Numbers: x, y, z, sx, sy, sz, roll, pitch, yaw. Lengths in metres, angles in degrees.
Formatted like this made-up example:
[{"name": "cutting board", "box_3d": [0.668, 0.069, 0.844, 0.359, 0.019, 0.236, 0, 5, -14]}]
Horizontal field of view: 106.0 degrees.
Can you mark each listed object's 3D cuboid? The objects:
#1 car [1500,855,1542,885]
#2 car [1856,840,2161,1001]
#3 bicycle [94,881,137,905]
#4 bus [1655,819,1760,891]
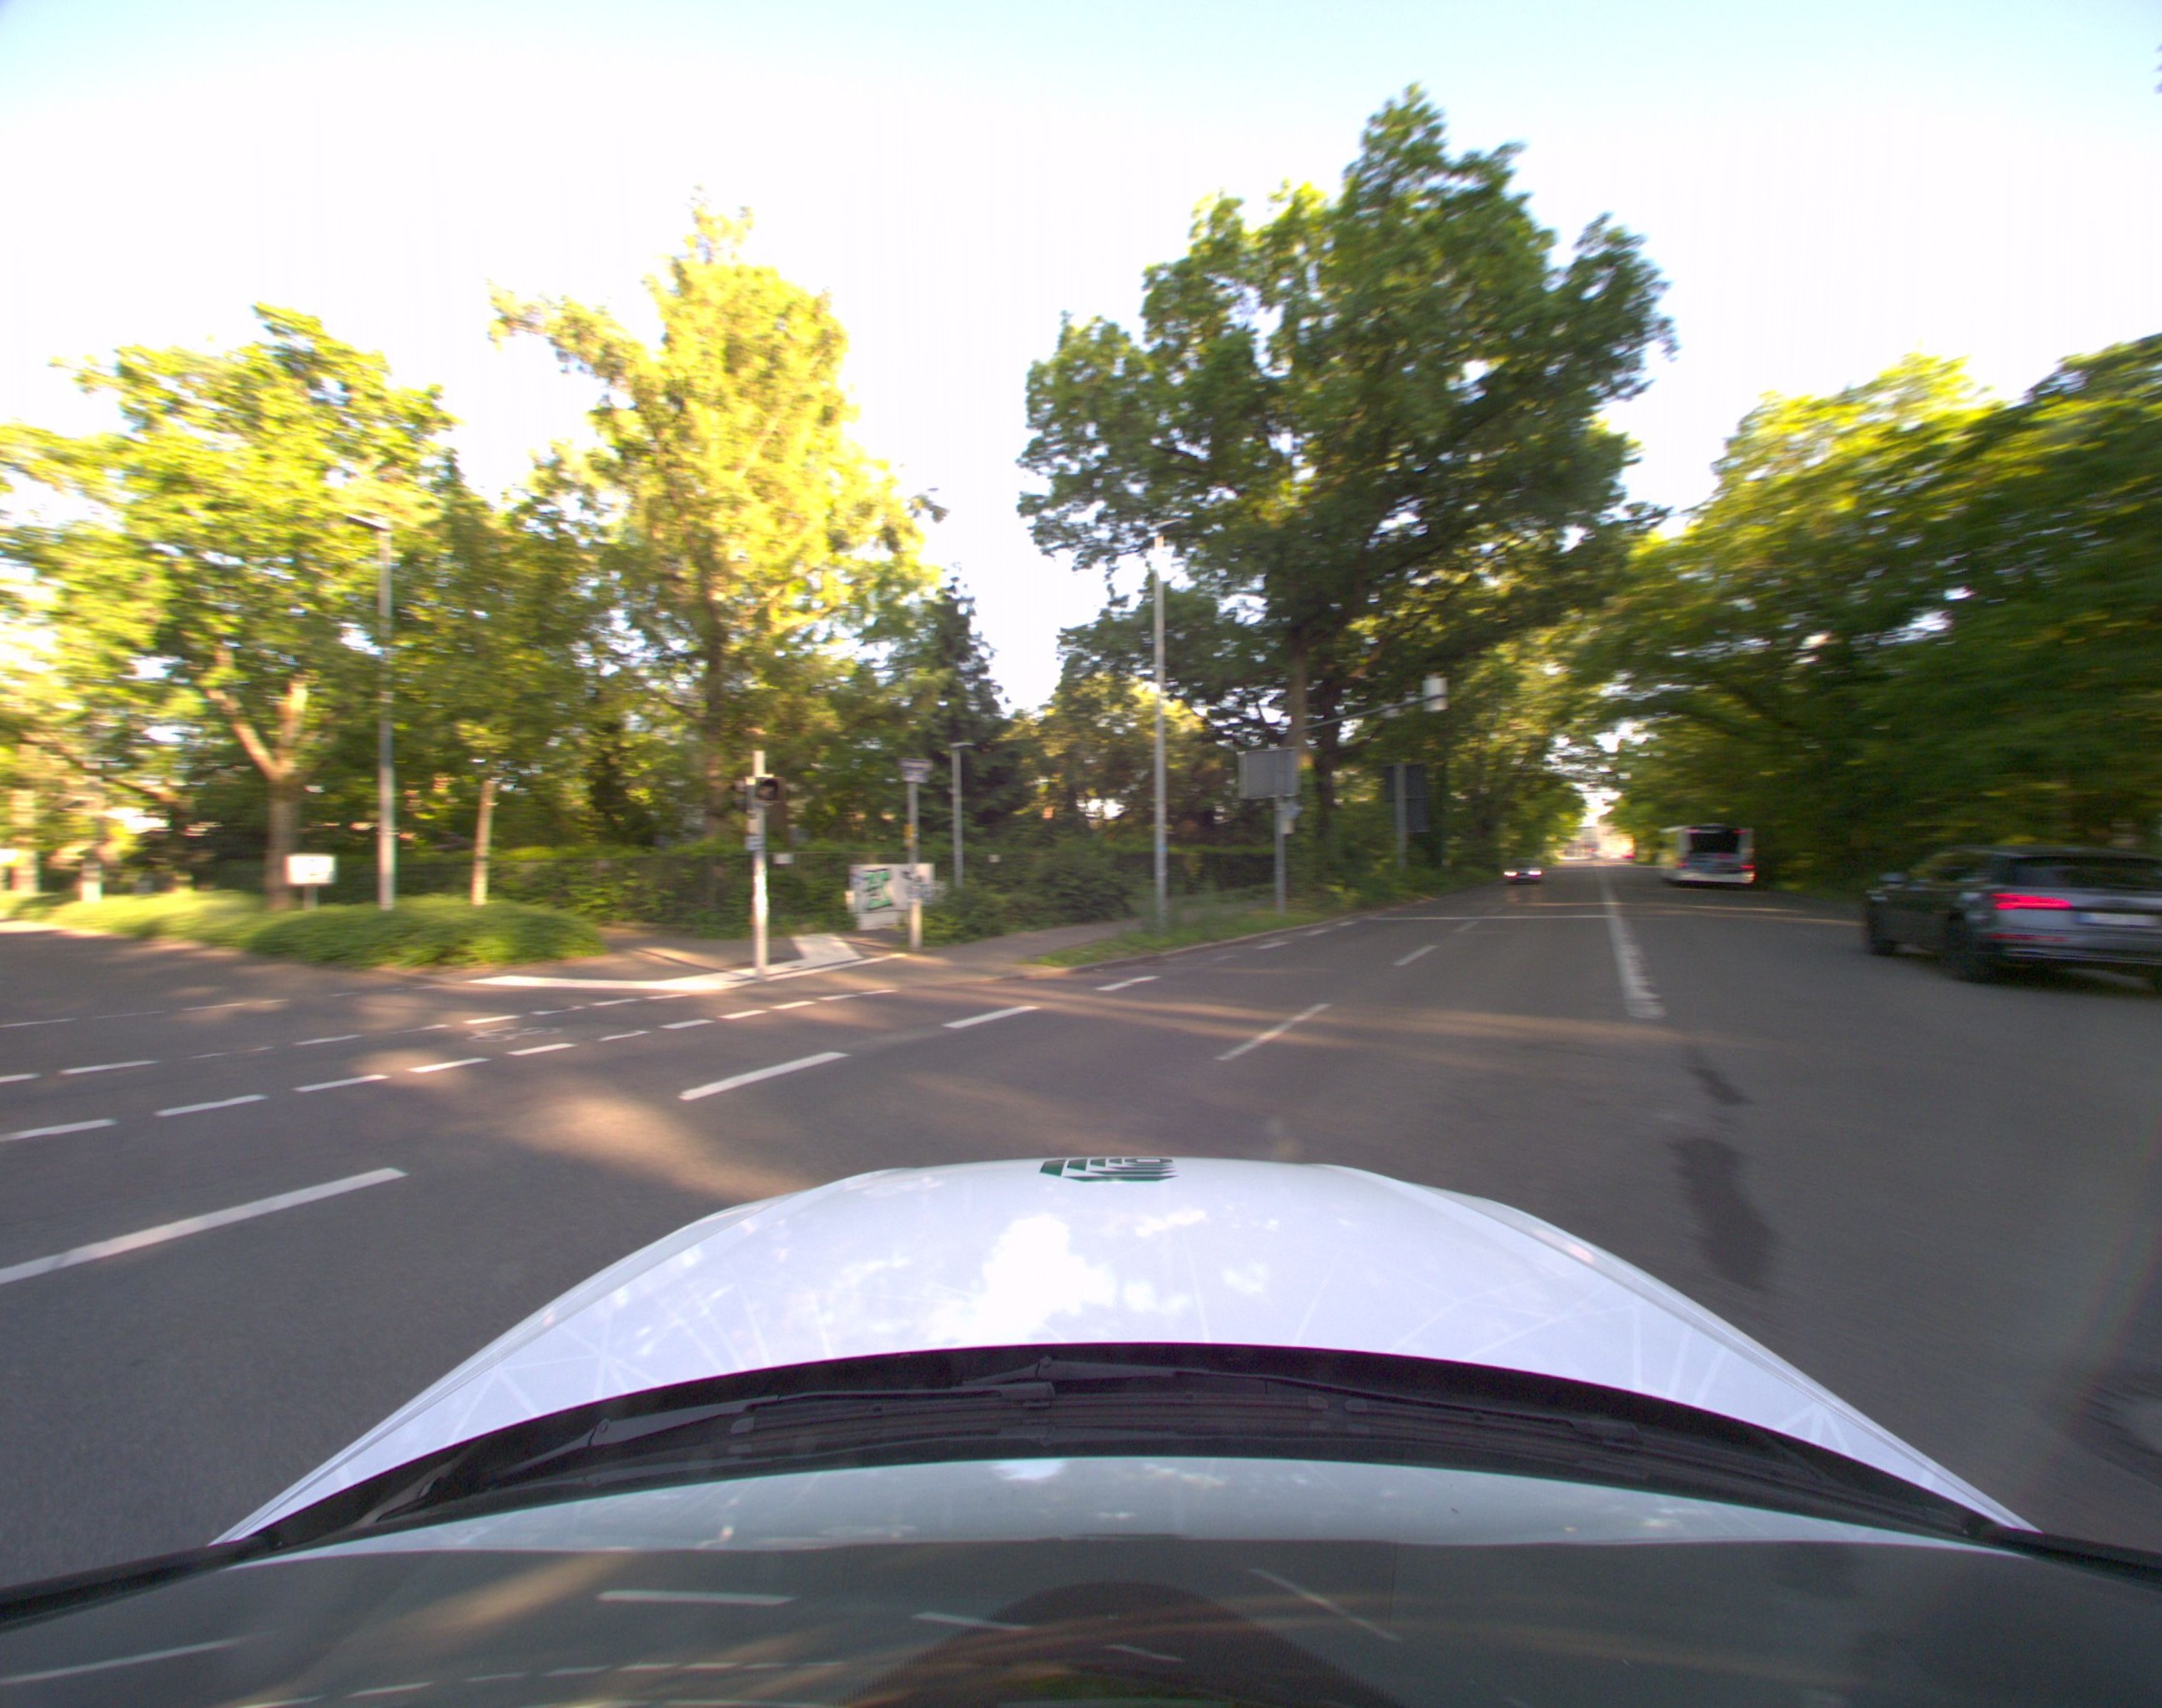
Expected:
[{"name": "car", "box_3d": [25.710, 0.898, 47.489, 1.789, 1.580, 4.346, -4, -2, 32]}, {"name": "car", "box_3d": [11.860, 0.678, 10.397, 1.969, 1.607, 4.390, 2, 1, 32]}, {"name": "bicycle", "box_3d": [-54.583, 2.178, 46.077, 0.890, 1.200, 2.302, -2, 1, -33]}, {"name": "bus", "box_3d": [31.416, -0.008, 41.338, 2.983, 3.087, 12.347, 2, 1, 32]}]
